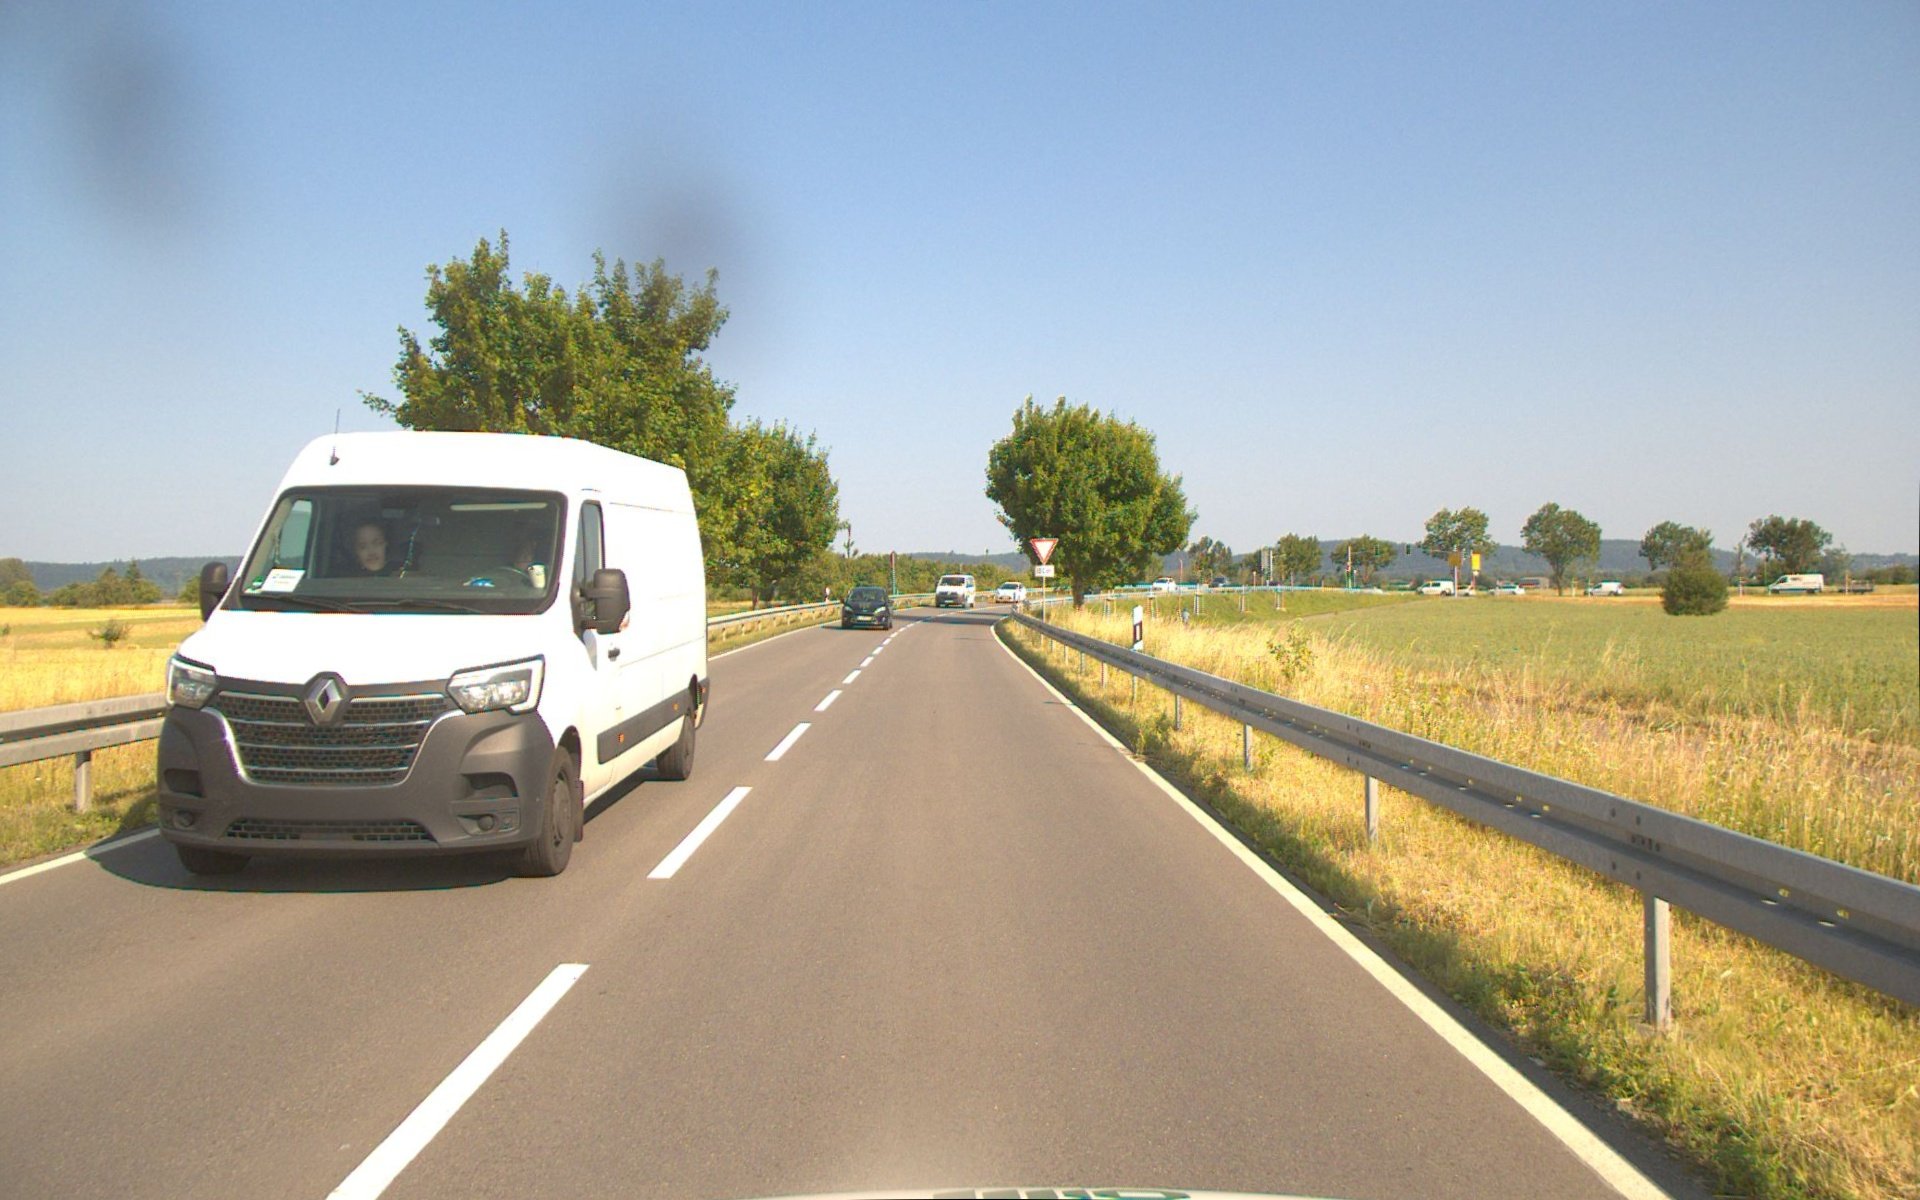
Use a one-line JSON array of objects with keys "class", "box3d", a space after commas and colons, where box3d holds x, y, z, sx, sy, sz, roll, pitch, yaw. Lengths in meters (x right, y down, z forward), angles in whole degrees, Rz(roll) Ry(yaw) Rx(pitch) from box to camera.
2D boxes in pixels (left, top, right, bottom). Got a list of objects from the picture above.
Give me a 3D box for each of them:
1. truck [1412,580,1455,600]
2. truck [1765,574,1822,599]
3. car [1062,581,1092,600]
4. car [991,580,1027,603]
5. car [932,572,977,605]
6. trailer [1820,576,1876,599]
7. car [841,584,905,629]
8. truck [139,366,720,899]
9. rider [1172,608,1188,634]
[{"class": "truck", "box3d": [60.848, -1.304, 212.686, 4.956, 2.573, 1.996, 1, -1, 30]}, {"class": "truck", "box3d": [94.774, -1.583, 188.089, 5.479, 2.742, 3.286, 1, -1, 32]}, {"class": "car", "box3d": [10.154, -0.804, 143.276, 1.951, 1.559, 4.595, 1, 1, 13]}, {"class": "car", "box3d": [3.569, -0.625, 118.917, 1.861, 1.559, 4.595, 1, 1, 11]}, {"class": "car", "box3d": [-0.294, -0.700, 99.844, 1.951, 1.917, 4.595, 1, 1, 10]}, {"class": "trailer", "box3d": [99.370, -1.376, 185.150, 5.345, 2.395, 3.347, 1, -1, 32]}, {"class": "car", "box3d": [-3.032, 0.215, 58.308, 1.609, 1.497, 3.809, 1, 0, 6]}, {"class": "truck", "box3d": [-3.008, 0.136, 11.098, 1.953, 2.564, 6.243, 0, 0, -1]}, {"class": "rider", "box3d": [13.543, 1.287, 101.940, 0.596, 1.554, 1.826, 1, -1, 20]}]
